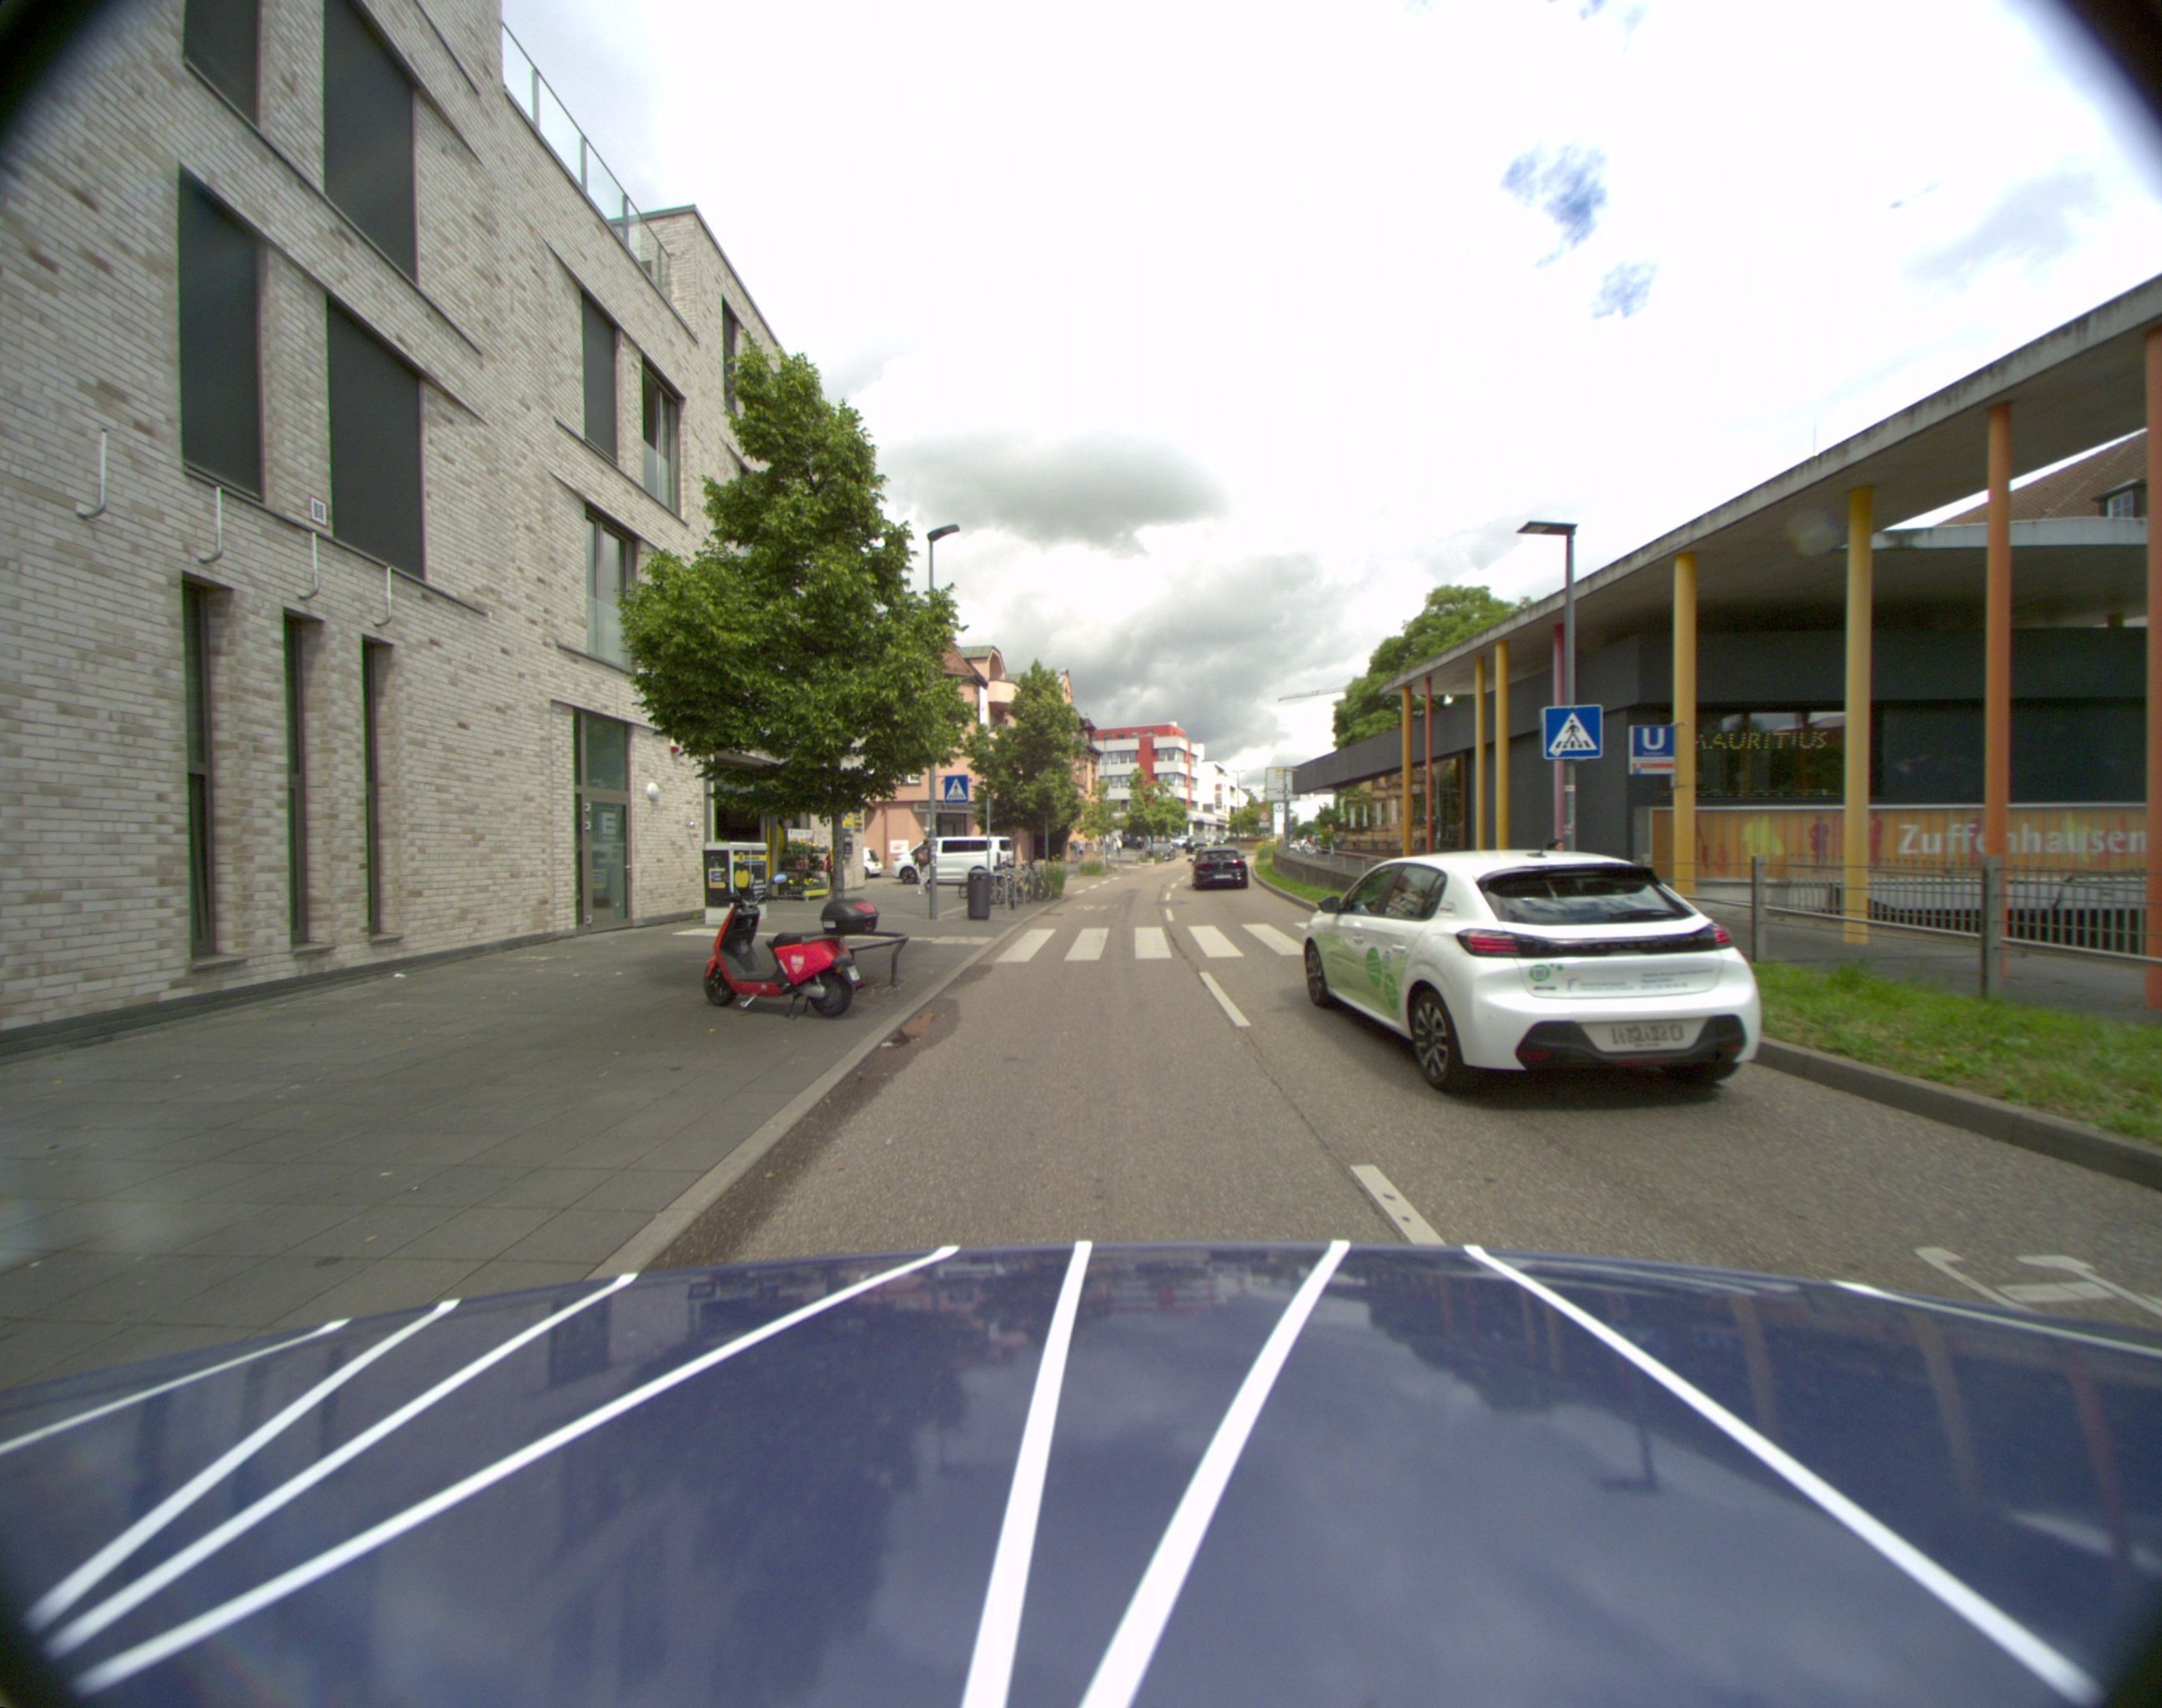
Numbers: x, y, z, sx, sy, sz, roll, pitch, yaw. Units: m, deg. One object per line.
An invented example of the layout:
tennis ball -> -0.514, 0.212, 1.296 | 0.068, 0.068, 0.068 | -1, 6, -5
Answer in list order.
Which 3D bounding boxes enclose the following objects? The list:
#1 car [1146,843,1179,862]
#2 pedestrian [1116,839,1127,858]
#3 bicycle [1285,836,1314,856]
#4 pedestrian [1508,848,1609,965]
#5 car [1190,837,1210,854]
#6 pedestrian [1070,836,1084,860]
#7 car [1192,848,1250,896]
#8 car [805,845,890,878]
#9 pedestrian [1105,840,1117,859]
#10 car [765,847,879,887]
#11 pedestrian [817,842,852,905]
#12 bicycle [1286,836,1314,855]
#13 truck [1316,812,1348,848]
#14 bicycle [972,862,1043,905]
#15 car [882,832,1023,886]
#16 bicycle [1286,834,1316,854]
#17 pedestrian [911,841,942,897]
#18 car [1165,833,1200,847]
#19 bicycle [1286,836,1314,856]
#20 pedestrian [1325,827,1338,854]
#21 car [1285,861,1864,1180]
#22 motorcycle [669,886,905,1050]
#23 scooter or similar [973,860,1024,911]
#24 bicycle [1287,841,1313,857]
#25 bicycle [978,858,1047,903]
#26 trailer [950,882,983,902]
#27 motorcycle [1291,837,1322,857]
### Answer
car -> 6.537, -0.145, 60.829 | 1.996, 1.406, 4.740 | 0, 2, 14
pedestrian -> 3.505, -0.479, 65.925 | 0.696, 1.649, 0.741 | -1, 3, 25
bicycle -> 12.275, -0.446, 42.749 | 1.548, 1.121, 0.534 | 0, 2, 14
pedestrian -> 6.828, 0.723, 10.898 | 0.929, 1.556, 0.814 | -2, 3, -2
car -> 11.834, -0.866, 75.418 | 1.802, 1.571, 4.001 | -1, 2, 10
pedestrian -> -0.251, -0.405, 52.595 | 0.745, 1.630, 0.928 | 2, 1, 13
car -> 4.844, 0.558, 26.099 | 1.775, 1.455, 4.237 | -2, 1, 11
car -> -11.000, 0.320, 35.879 | 3.386, 1.468, 1.720 | 1, 1, 12
pedestrian -> 2.618, -0.425, 65.908 | 0.738, 1.631, 0.677 | 0, 3, 39
car -> -10.282, 0.496, 30.288 | 3.902, 1.468, 1.784 | 1, 1, 6
pedestrian -> -6.746, 0.524, 20.806 | 0.658, 1.683, 0.633 | 1, 2, 41
bicycle -> 12.707, -0.485, 44.047 | 1.548, 1.121, 0.534 | 0, 2, 14
truck -> 28.902, -2.869, 87.082 | 2.676, 3.821, 10.861 | -1, 2, 22
bicycle -> -2.026, 0.804, 20.957 | 1.826, 1.125, 0.756 | 1, 2, 7
car -> -5.345, 0.196, 31.892 | 5.384, 2.002, 2.002 | -2, 1, 13
bicycle -> 12.077, -0.557, 41.707 | 1.548, 1.121, 0.534 | 0, 2, 14
pedestrian -> -4.893, 0.451, 24.106 | 0.659, 1.732, 1.018 | 0, 1, 6
car -> 12.312, -1.704, 92.121 | 4.007, 1.653, 1.839 | -3, 3, -38
bicycle -> 12.496, -0.470, 43.372 | 1.548, 1.121, 0.534 | 0, 2, 14
pedestrian -> 14.999, -0.786, 45.524 | 0.660, 1.619, 0.801 | -1, 0, 21
car -> 2.950, 0.840, 5.684 | 1.816, 1.460, 3.907 | -2, 0, 1
motorcycle -> -2.706, 0.984, 6.986 | 2.052, 1.259, 0.673 | 2, 2, 18
scooter or similar -> -2.061, 0.778, 19.021 | 1.198, 1.242, 0.494 | 1, 2, 7
bicycle -> 14.895, -0.319, 51.717 | 1.689, 1.075, 0.515 | 0, 0, 10
bicycle -> -1.953, 0.747, 21.789 | 1.826, 1.194, 0.756 | 1, 2, 7
trailer -> -3.342, 1.113, 22.227 | 0.721, 0.525, 0.812 | -1, 1, 10
motorcycle -> 16.991, -0.534, 57.364 | 2.192, 1.442, 0.648 | 0, 3, 13
